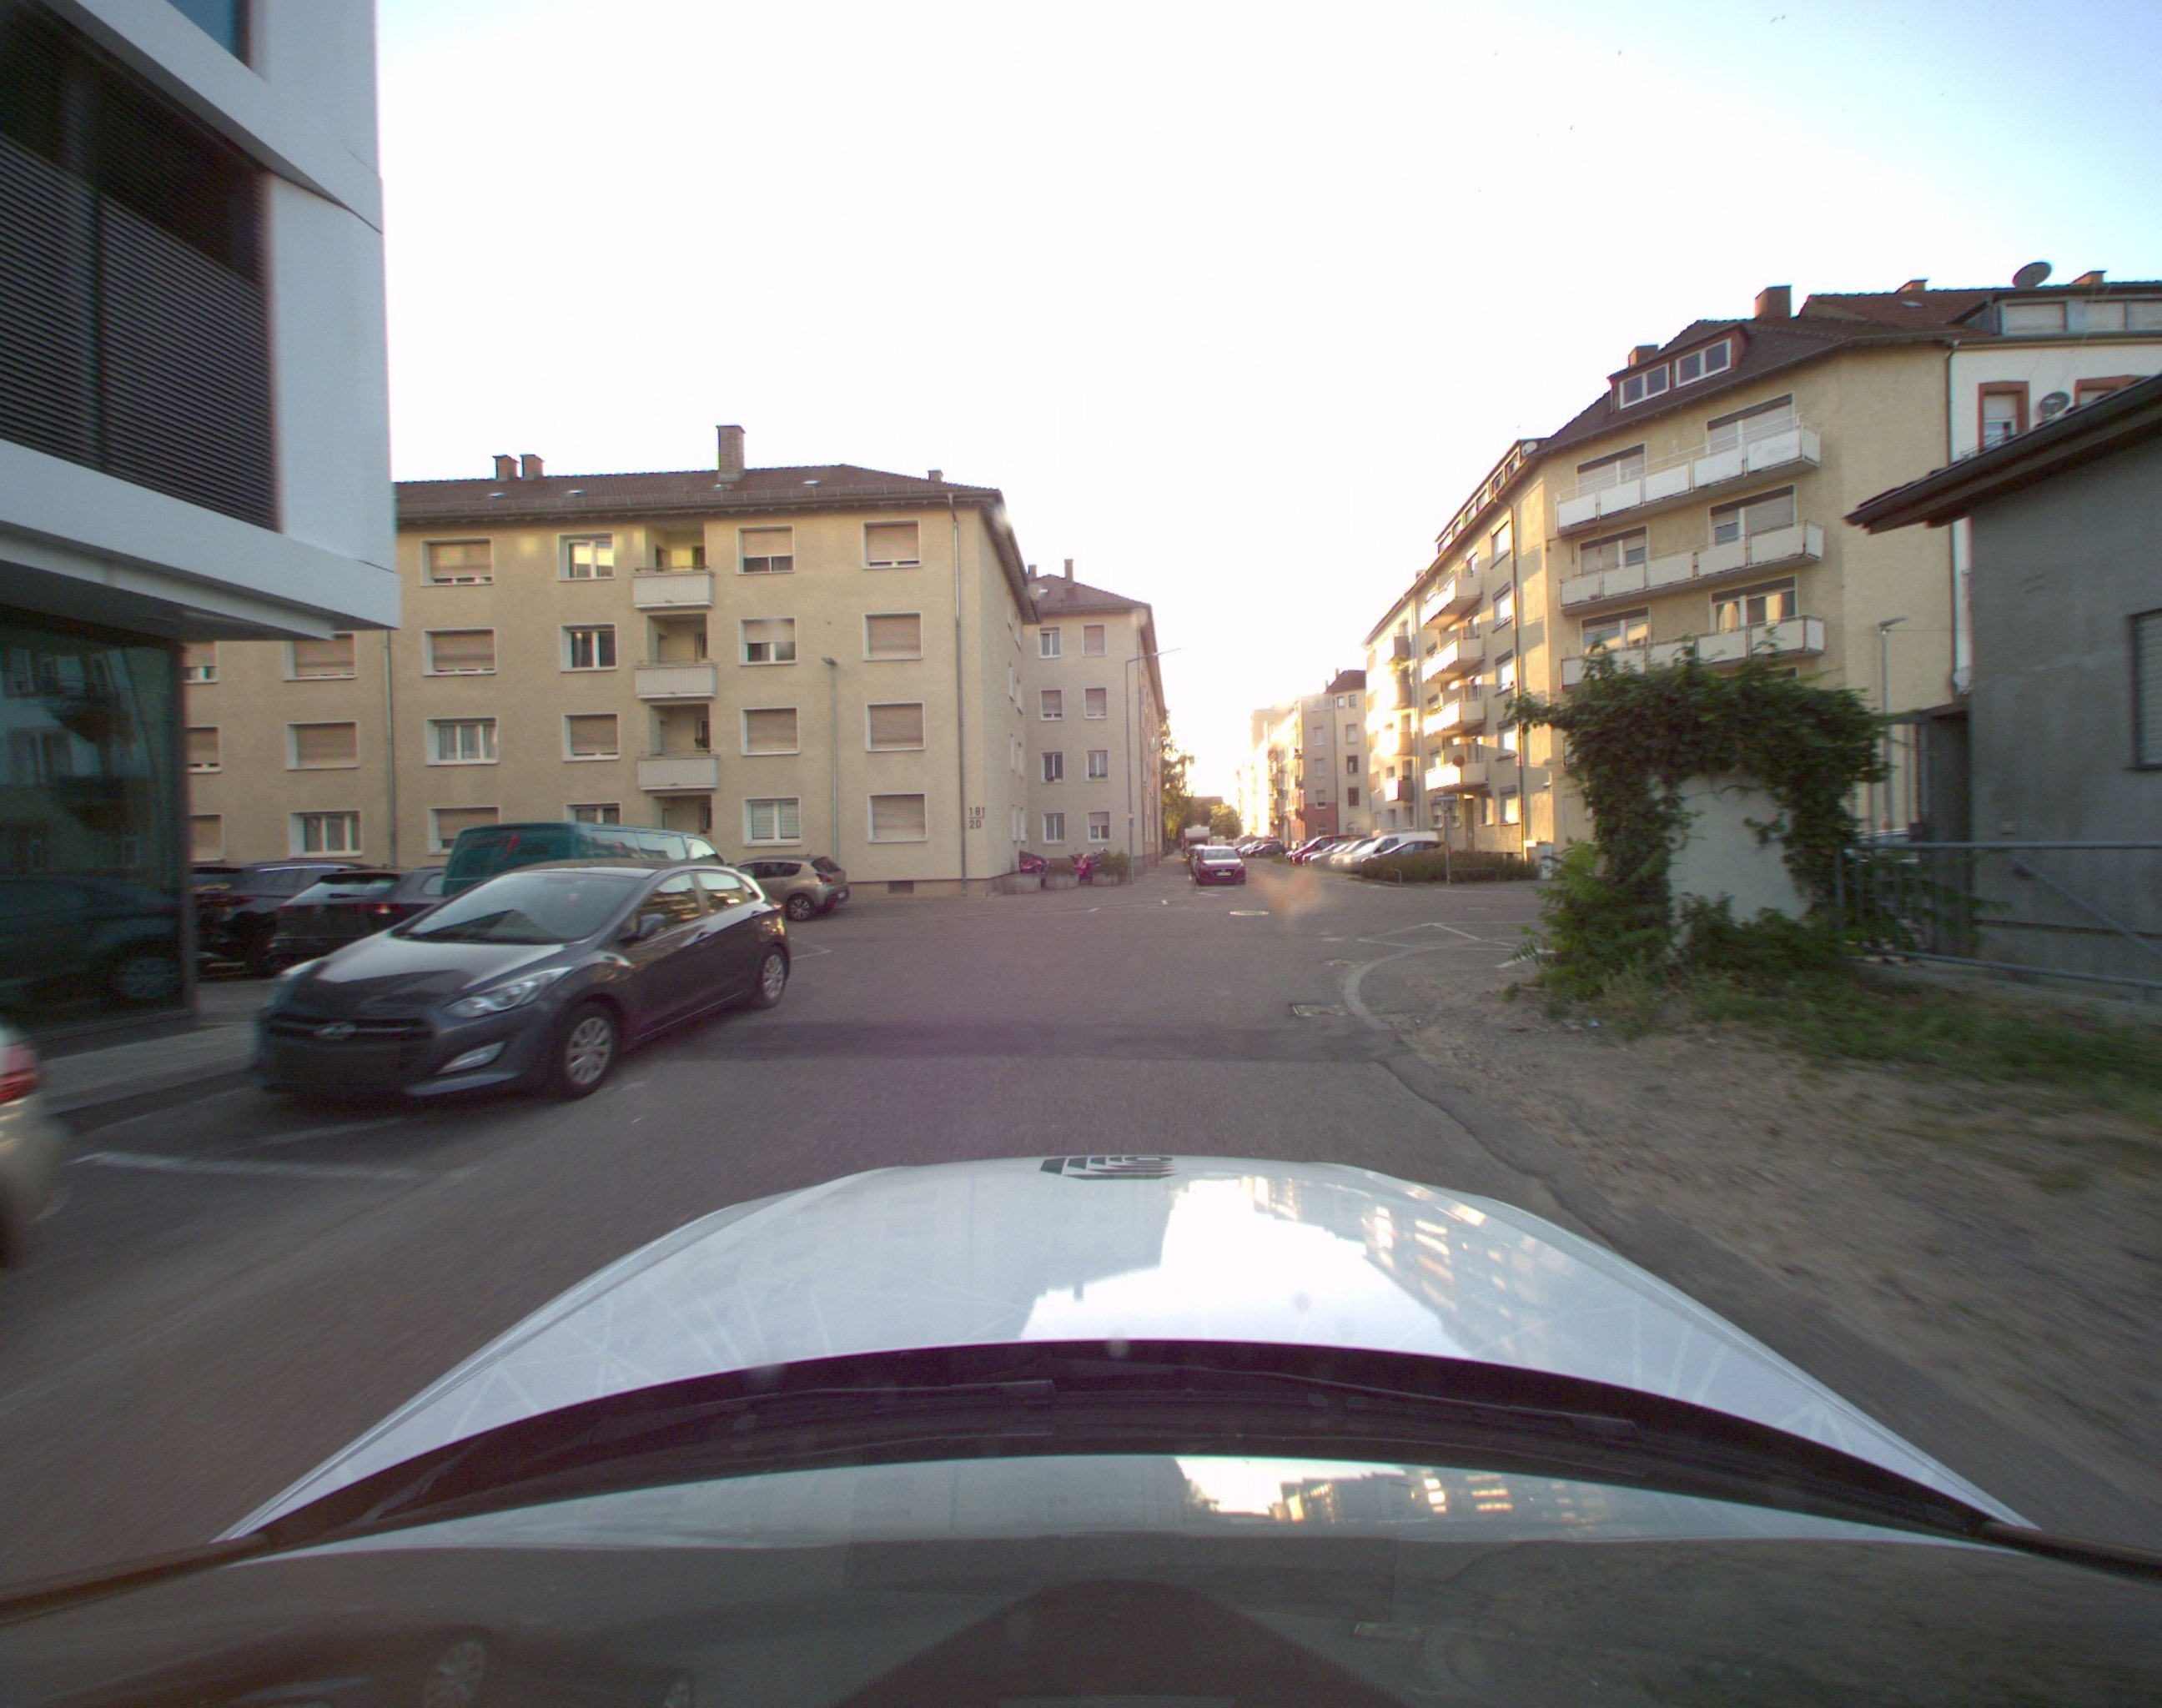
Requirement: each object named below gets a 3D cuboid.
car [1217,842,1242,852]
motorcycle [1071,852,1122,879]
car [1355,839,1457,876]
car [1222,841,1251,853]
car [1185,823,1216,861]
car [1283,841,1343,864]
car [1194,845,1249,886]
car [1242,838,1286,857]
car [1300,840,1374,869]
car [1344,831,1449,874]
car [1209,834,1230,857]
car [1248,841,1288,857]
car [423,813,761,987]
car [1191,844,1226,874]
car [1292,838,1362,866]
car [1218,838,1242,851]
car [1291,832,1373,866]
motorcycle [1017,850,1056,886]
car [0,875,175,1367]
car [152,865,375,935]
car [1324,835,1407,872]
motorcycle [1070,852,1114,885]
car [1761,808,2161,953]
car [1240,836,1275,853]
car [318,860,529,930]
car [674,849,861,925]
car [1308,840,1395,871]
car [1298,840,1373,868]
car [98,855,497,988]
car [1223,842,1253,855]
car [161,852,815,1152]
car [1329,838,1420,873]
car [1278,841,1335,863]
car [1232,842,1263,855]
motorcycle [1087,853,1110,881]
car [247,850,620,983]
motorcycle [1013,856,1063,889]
[{"bbox_3d":[25.114,-1.223,137.671,3.966,1.530,1.662,-3,0,6],"label":"car"},{"bbox_3d":[0.655,0.510,35.277,2.106,1.105,0.563,-1,0,18],"label":"motorcycle"},{"bbox_3d":[14.267,0.146,35.901,3.851,1.492,1.745,-2,0,7],"label":"car"},{"bbox_3d":[22.303,-0.952,117.092,3.966,1.530,1.662,-3,0,6],"label":"car"},{"bbox_3d":[11.278,-1.114,77.476,2.605,3.268,7.713,-3,0,8],"label":"car"},{"bbox_3d":[16.448,-0.106,57.818,3.792,1.428,1.637,-3,0,6],"label":"car"},{"bbox_3d":[5.534,0.424,32.419,1.836,1.473,4.085,-2,0,6],"label":"car"},{"bbox_3d":[21.480,-0.795,95.693,4.788,1.967,1.742,-3,0,6],"label":"car"},{"bbox_3d":[14.980,0.031,47.822,3.856,1.416,1.639,-3,0,5],"label":"car"},{"bbox_3d":[14.672,-0.048,38.086,4.256,1.860,1.745,-2,0,7],"label":"car"},{"bbox_3d":[17.760,-1.073,104.566,2.118,2.717,4.841,-3,0,6],"label":"car"},{"bbox_3d":[20.326,-0.540,88.660,3.966,1.530,1.662,-3,0,6],"label":"car"},{"bbox_3d":[-6.598,0.548,11.778,1.790,1.980,4.693,-2,0,3],"label":"car"},{"bbox_3d":[6.831,0.260,43.816,1.608,1.473,3.510,-3,0,6],"label":"car"},{"bbox_3d":[16.688,-0.160,55.406,4.302,1.637,1.821,-3,0,6],"label":"car"},{"bbox_3d":[31.245,-1.947,171.290,4.788,2.408,1.742,-3,0,6],"label":"car"},{"bbox_3d":[16.120,-0.329,52.532,4.698,1.909,2.063,-3,0,6],"label":"car"},{"bbox_3d":[-1.662,0.502,30.715,0.717,1.264,2.090,-1,0,18],"label":"motorcycle"},{"bbox_3d":[-4.196,0.834,0.857,1.704,1.479,4.186,2,1,1],"label":"car"},{"bbox_3d":[-21.580,1.190,21.634,3.920,1.483,1.883,-2,5,2],"label":"car"},{"bbox_3d":[14.806,-0.034,42.523,3.770,1.695,1.658,-3,0,7],"label":"car"},{"bbox_3d":[0.431,0.530,30.776,0.682,1.160,2.047,-1,0,31],"label":"motorcycle"},{"bbox_3d":[12.104,0.304,10.829,1.824,1.531,4.717,-2,-1,-6],"label":"car"},{"bbox_3d":[22.070,-1.219,101.707,3.970,2.013,2.002,-2,0,3],"label":"car"},{"bbox_3d":[-17.141,1.050,21.382,3.920,1.483,1.883,-2,5,2],"label":"car"},{"bbox_3d":[-8.012,0.820,21.081,3.991,1.617,1.883,-2,4,2],"label":"car"},{"bbox_3d":[14.792,0.073,44.711,4.285,1.449,1.658,-3,0,7],"label":"car"},{"bbox_3d":[15.561,-0.020,49.995,4.124,1.471,1.639,-3,0,6],"label":"car"},{"bbox_3d":[-11.473,0.911,12.474,1.722,1.659,4.335,-1,-2,4],"label":"car"},{"bbox_3d":[22.180,-0.773,115.123,3.966,1.530,1.662,-3,0,6],"label":"car"},{"bbox_3d":[-3.859,0.767,6.464,1.772,1.479,4.336,2,1,4],"label":"car"},{"bbox_3d":[14.446,0.078,40.283,3.934,1.522,1.709,-2,0,7],"label":"car"},{"bbox_3d":[16.646,-0.128,60.331,3.792,1.428,1.637,-3,0,6],"label":"car"},{"bbox_3d":[22.946,-0.789,112.526,3.966,1.530,1.662,-3,0,6],"label":"car"},{"bbox_3d":[0.729,0.519,32.998,0.678,1.079,2.039,-1,0,8],"label":"motorcycle"},{"bbox_3d":[-8.971,0.805,11.900,1.772,1.550,4.335,-1,-2,4],"label":"car"},{"bbox_3d":[-1.480,0.623,28.402,0.716,1.079,2.093,-1,0,28],"label":"motorcycle"}]
